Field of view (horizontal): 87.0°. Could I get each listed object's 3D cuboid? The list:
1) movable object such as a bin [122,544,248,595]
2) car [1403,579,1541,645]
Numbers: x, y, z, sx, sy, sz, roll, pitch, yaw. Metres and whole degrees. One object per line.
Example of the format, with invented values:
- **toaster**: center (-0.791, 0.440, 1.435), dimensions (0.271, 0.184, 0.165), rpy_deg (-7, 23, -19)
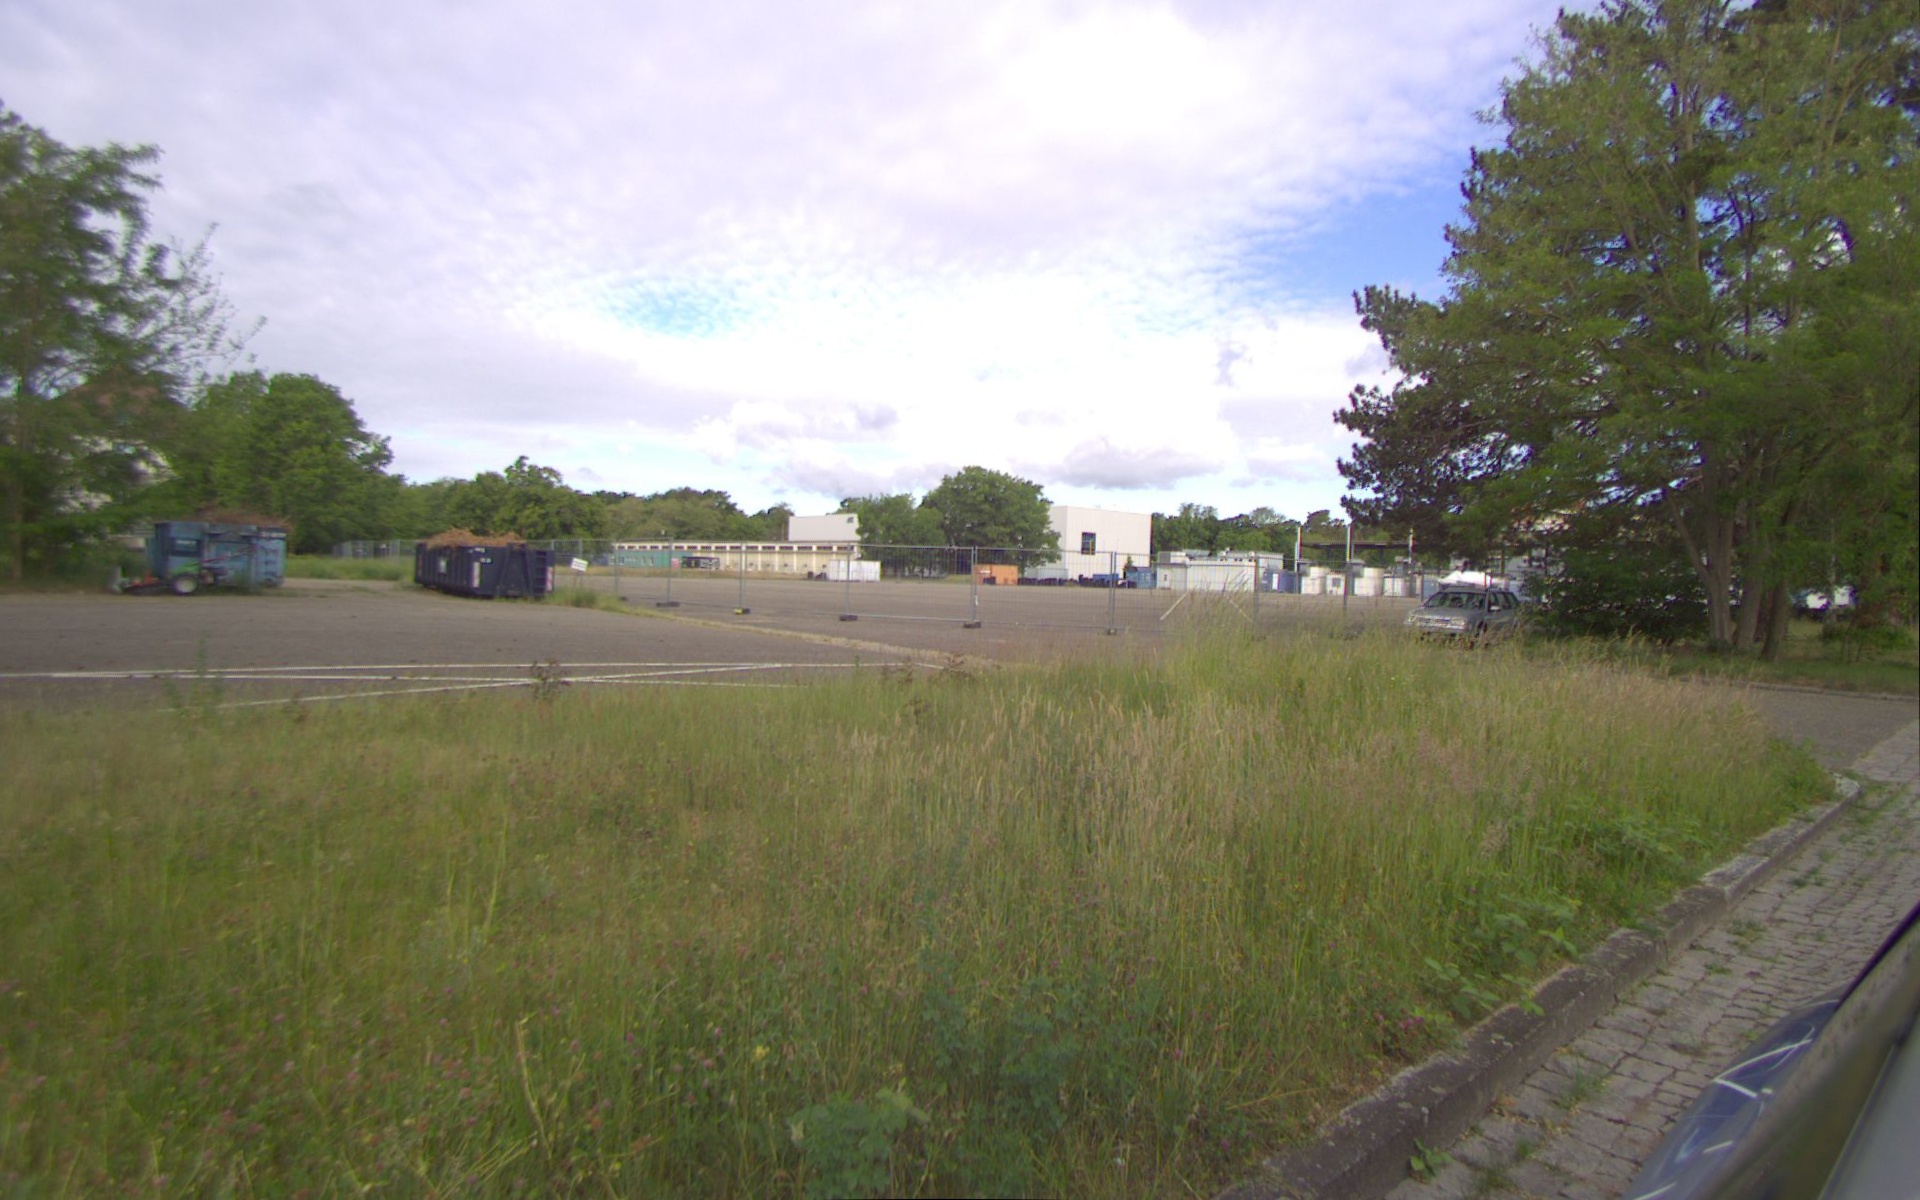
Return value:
- **movable object such as a bin**: center (-18.038, -0.688, 23.589), dimensions (0.958, 1.148, 2.181), rpy_deg (1, 1, 40)
- **car**: center (12.818, 0.259, 25.209), dimensions (4.415, 1.468, 1.676), rpy_deg (0, 2, -44)
